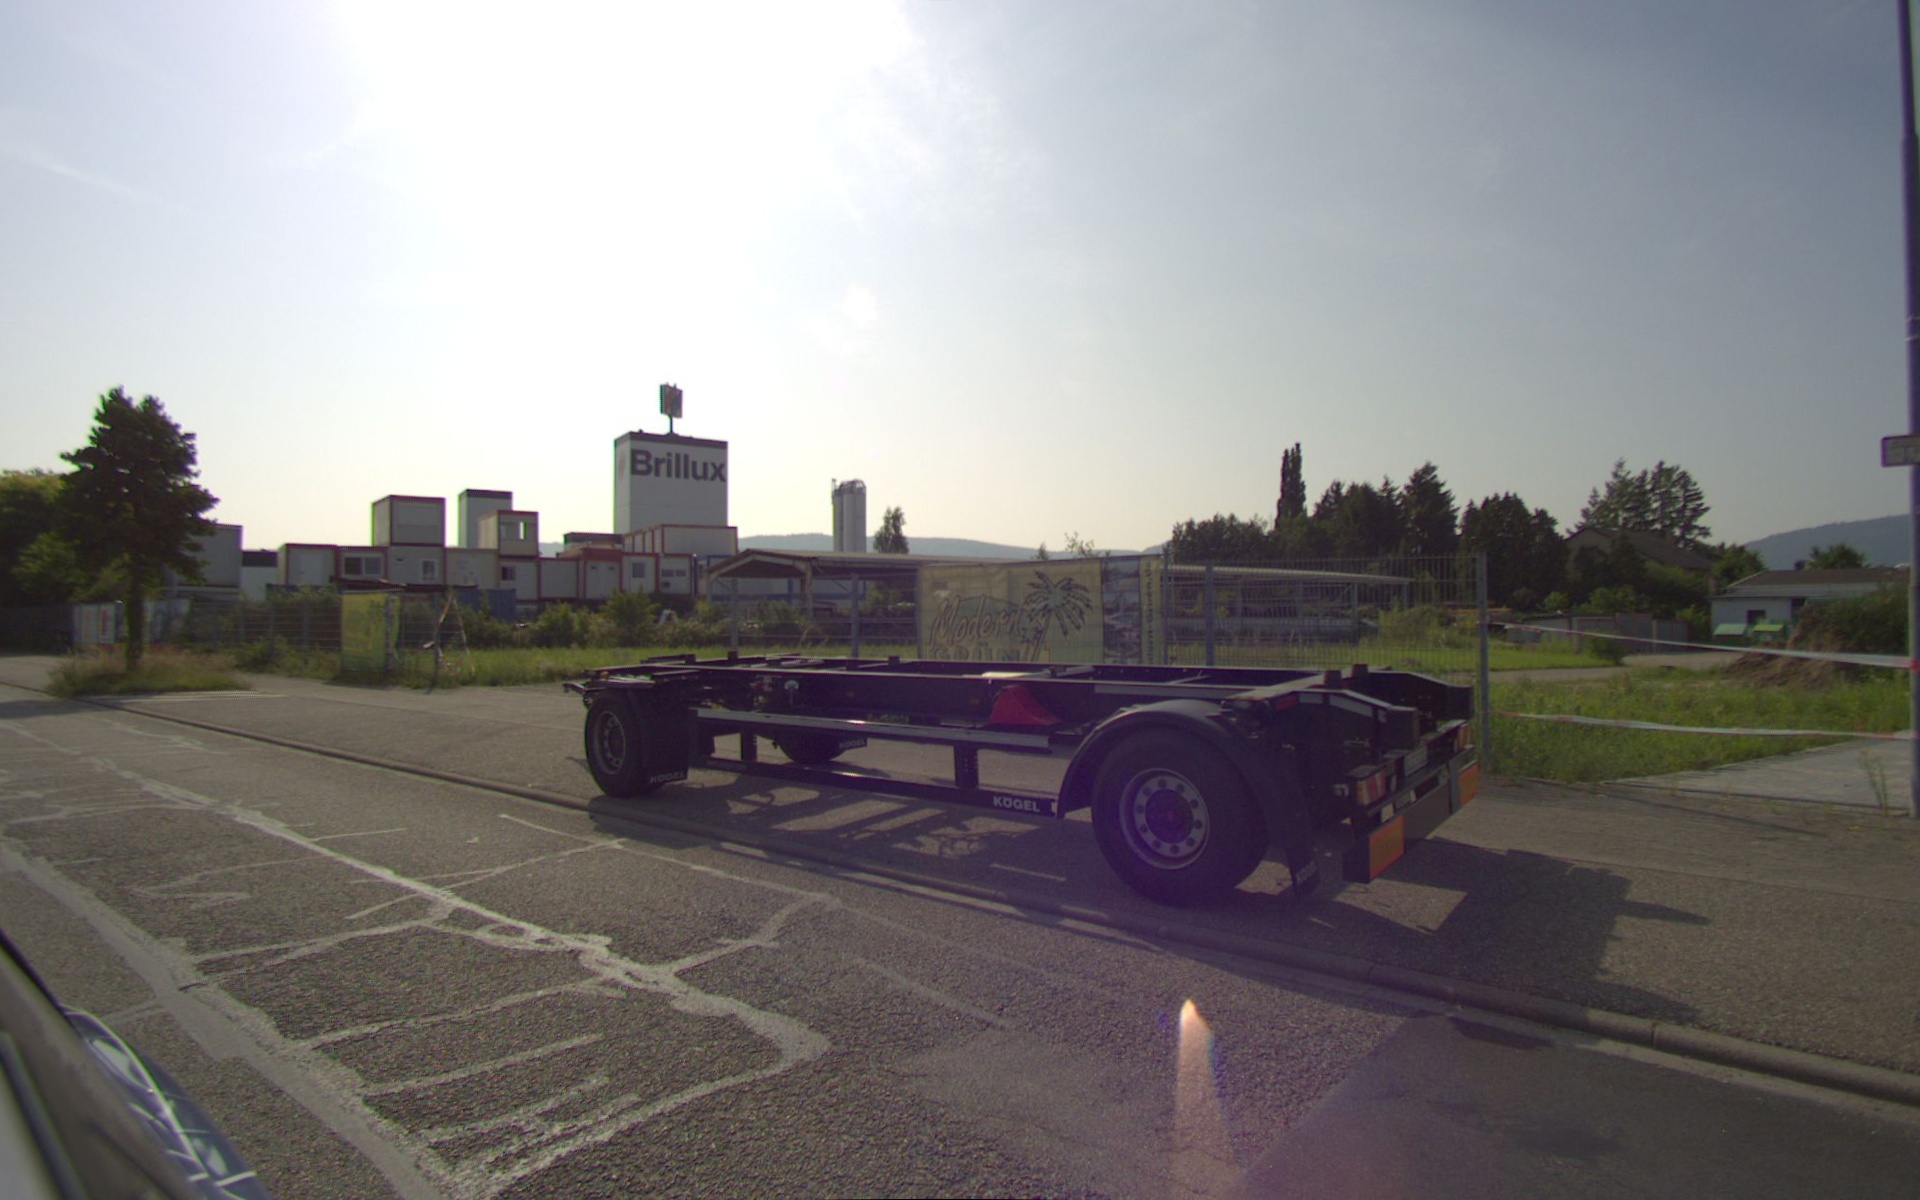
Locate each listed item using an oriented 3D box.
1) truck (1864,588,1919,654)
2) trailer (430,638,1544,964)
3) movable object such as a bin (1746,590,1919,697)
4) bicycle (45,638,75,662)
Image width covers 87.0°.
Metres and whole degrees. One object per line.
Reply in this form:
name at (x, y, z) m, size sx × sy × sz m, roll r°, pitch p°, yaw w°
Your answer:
truck at (59.408, 1.350, 63.315) m, size 7.464 × 3.916 × 2.906 m, roll 1°, pitch -2°, yaw -38°
trailer at (-0.844, 0.985, 8.153) m, size 9.352 × 1.193 × 2.557 m, roll -1°, pitch 0°, yaw 39°
movable object such as a bin at (22.238, 1.063, 25.382) m, size 4.231 × 2.475 × 2.260 m, roll 1°, pitch -2°, yaw -25°
bicycle at (-38.521, 2.120, 43.317) m, size 2.449 × 0.980 × 0.557 m, roll -1°, pitch -2°, yaw 39°
